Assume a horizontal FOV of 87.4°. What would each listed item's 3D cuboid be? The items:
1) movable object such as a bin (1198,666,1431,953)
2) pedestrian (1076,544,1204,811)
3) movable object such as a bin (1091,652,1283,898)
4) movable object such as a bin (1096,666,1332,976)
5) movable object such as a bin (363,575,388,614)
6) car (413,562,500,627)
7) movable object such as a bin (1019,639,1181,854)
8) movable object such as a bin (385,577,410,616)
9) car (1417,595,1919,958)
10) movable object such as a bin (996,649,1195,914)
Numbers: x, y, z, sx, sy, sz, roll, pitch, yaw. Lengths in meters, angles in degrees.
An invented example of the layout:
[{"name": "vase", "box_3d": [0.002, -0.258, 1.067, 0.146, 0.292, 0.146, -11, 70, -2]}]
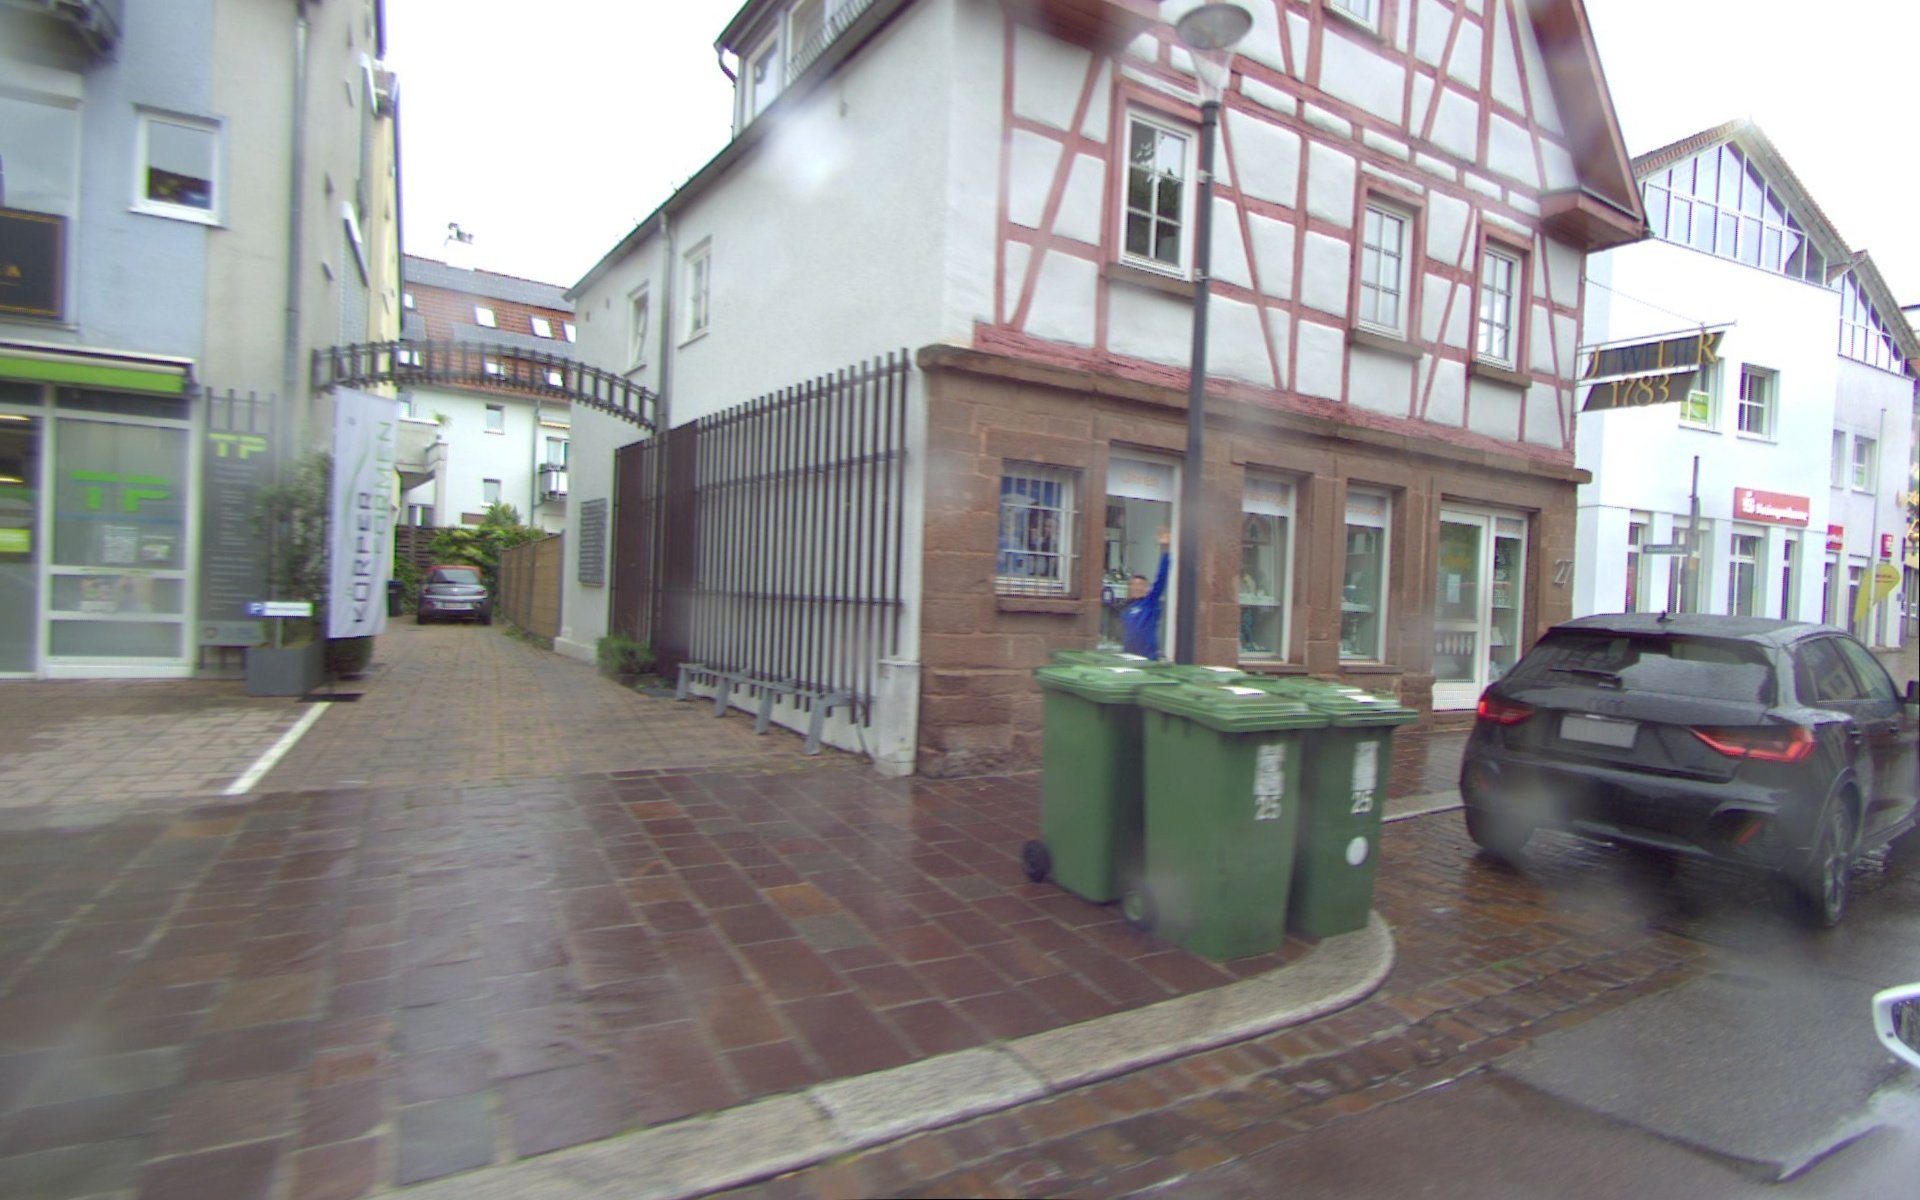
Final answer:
[{"name": "movable object such as a bin", "box_3d": [1.622, 0.905, 4.645, 0.638, 1.124, 0.722, 3, 1, -32]}, {"name": "pedestrian", "box_3d": [1.227, 0.507, 6.875, 0.572, 1.734, 0.515, 3, 1, -31]}, {"name": "movable object such as a bin", "box_3d": [1.179, 0.871, 5.287, 0.590, 1.124, 0.722, 3, 1, -32]}, {"name": "movable object such as a bin", "box_3d": [1.075, 0.884, 4.322, 0.590, 1.124, 0.722, 3, 1, -32]}, {"name": "movable object such as a bin", "box_3d": [-15.496, -0.147, 26.624, 0.533, 1.015, 0.349, 3, 1, -33]}, {"name": "car", "box_3d": [-13.082, -0.176, 26.204, 1.841, 1.472, 3.750, 3, 1, -26]}, {"name": "movable object such as a bin", "box_3d": [0.813, 0.821, 5.893, 0.609, 1.124, 0.656, 3, 1, -32]}, {"name": "movable object such as a bin", "box_3d": [-15.208, -0.106, 27.166, 0.533, 1.015, 0.349, 3, 1, -33]}, {"name": "car", "box_3d": [4.769, 0.794, 6.297, 3.964, 1.515, 1.774, 1, 2, -38]}, {"name": "movable object such as a bin", "box_3d": [0.652, 0.840, 4.936, 0.590, 1.124, 0.722, 3, 1, -32]}]
